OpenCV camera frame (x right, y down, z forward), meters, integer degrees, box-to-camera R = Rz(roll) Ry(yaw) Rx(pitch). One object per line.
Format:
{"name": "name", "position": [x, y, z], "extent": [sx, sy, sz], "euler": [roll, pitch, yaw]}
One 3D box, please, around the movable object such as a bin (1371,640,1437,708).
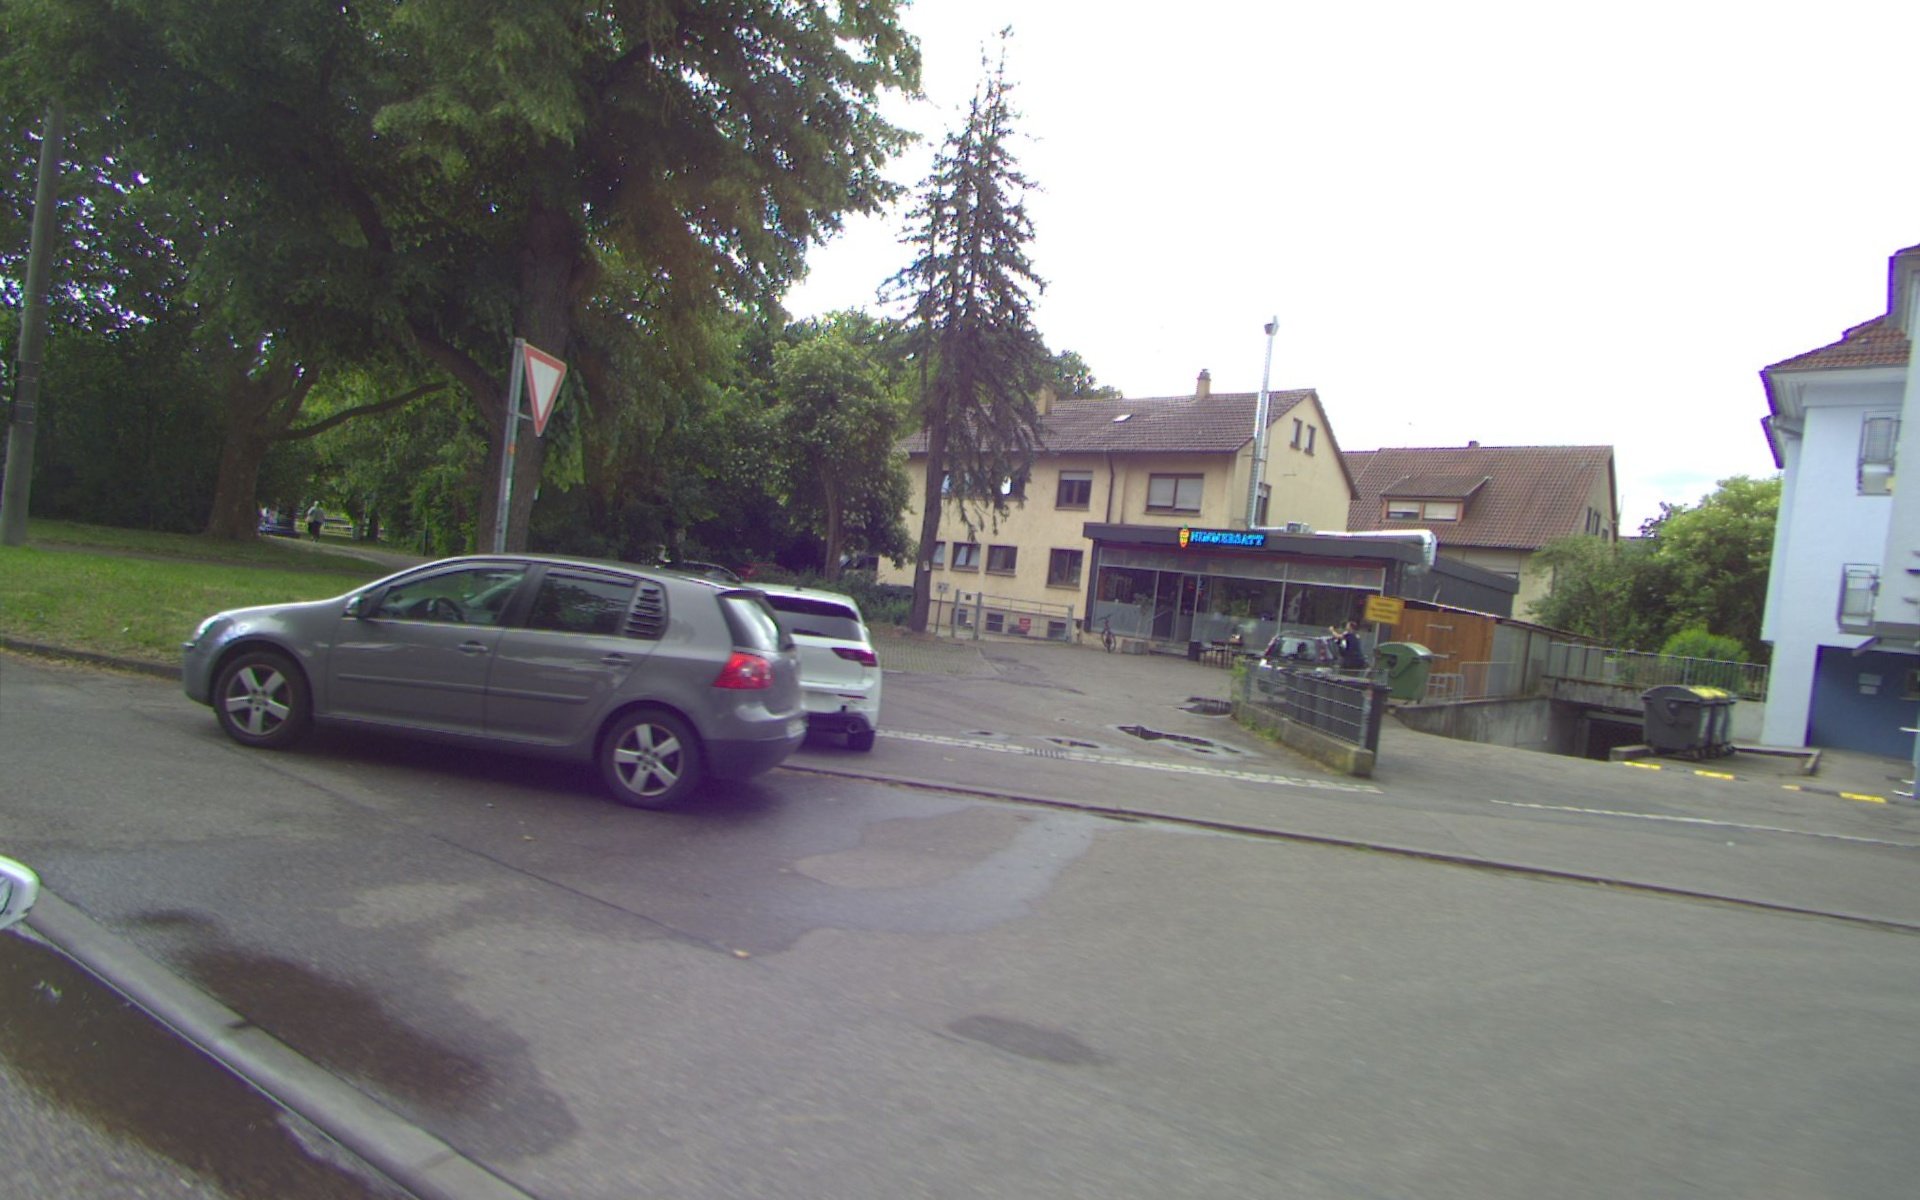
{"name": "movable object such as a bin", "position": [9.948, 1.651, 22.533], "extent": [0.980, 1.362, 1.215], "euler": [7, 1, 38]}

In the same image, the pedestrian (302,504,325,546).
{"name": "pedestrian", "position": [-25.486, -2.963, 39.637], "extent": [0.509, 1.551, 0.768], "euler": [5, 1, -43]}

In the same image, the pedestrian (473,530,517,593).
{"name": "pedestrian", "position": [-12.471, -1.033, 27.005], "extent": [0.731, 1.571, 0.683], "euler": [8, 2, 37]}

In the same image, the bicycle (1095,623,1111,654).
{"name": "bicycle", "position": [4.548, 1.202, 31.972], "extent": [0.405, 0.887, 1.966], "euler": [7, 1, 8]}

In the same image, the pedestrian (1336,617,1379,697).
{"name": "pedestrian", "position": [9.150, 1.314, 23.156], "extent": [0.602, 1.752, 0.686], "euler": [7, 2, 37]}

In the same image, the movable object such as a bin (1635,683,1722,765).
{"name": "movable object such as a bin", "position": [14.424, 2.465, 20.185], "extent": [1.209, 1.434, 1.081], "euler": [5, 1, -43]}

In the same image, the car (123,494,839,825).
{"name": "car", "position": [-3.069, 0.353, 7.007], "extent": [4.036, 1.447, 1.733], "euler": [8, 1, 3]}

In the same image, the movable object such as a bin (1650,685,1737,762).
{"name": "movable object such as a bin", "position": [15.403, 2.563, 21.116], "extent": [1.209, 1.413, 1.147], "euler": [5, 1, -43]}

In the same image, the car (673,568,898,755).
{"name": "car", "position": [-1.780, 0.496, 10.641], "extent": [1.735, 1.398, 4.254], "euler": [7, 0, -9]}

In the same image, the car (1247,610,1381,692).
{"name": "car", "position": [8.443, 1.242, 23.854], "extent": [1.603, 1.651, 3.404], "euler": [7, 1, 44]}

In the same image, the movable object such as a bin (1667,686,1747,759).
{"name": "movable object such as a bin", "position": [16.347, 2.658, 22.011], "extent": [1.209, 1.413, 1.081], "euler": [5, 1, -43]}
